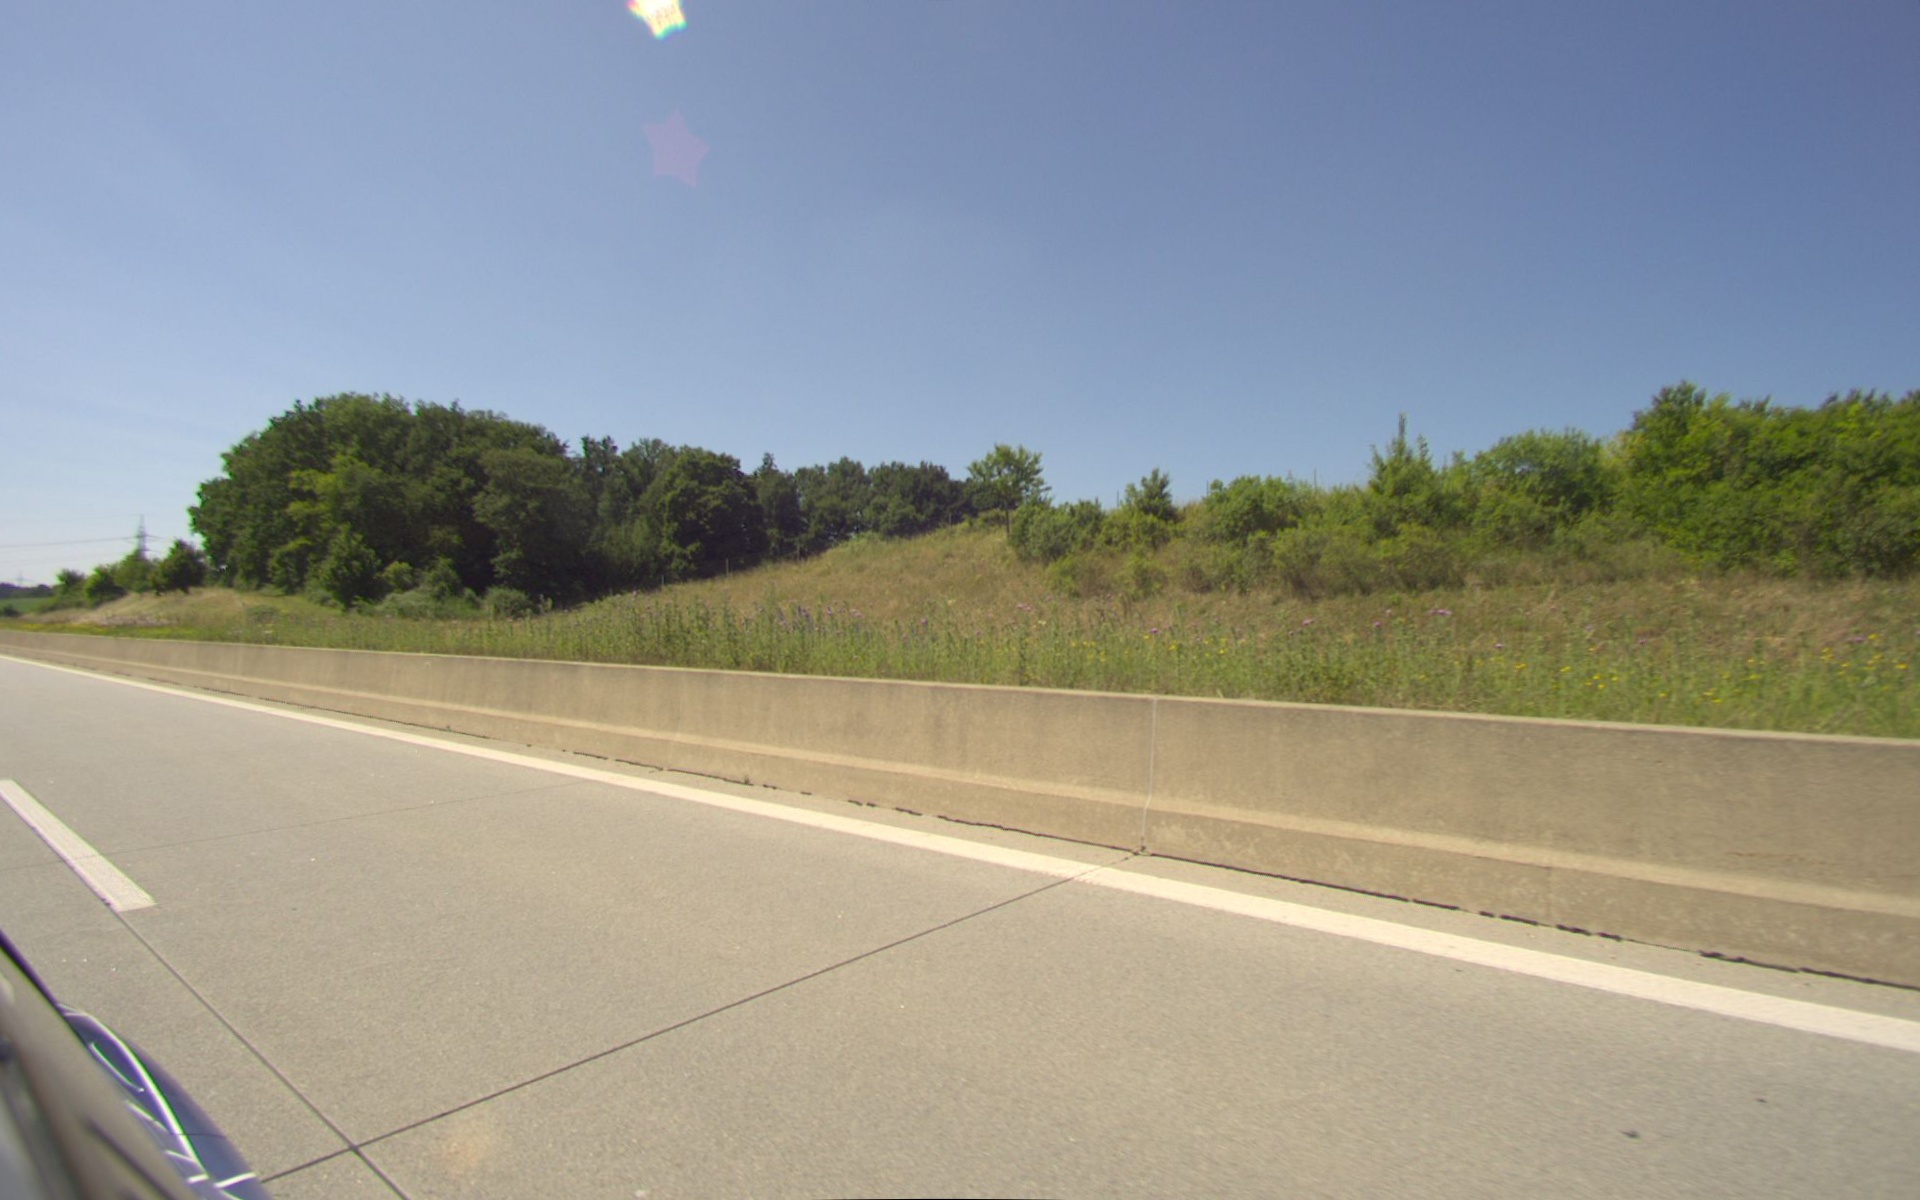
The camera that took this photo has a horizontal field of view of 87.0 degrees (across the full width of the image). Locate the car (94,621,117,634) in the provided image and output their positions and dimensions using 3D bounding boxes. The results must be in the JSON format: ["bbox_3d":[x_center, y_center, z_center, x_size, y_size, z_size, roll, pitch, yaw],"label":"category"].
[{"bbox_3d":[-105.196,3.382,124.575,3.626,1.411,1.482,-2,2,40],"label":"car"}]
